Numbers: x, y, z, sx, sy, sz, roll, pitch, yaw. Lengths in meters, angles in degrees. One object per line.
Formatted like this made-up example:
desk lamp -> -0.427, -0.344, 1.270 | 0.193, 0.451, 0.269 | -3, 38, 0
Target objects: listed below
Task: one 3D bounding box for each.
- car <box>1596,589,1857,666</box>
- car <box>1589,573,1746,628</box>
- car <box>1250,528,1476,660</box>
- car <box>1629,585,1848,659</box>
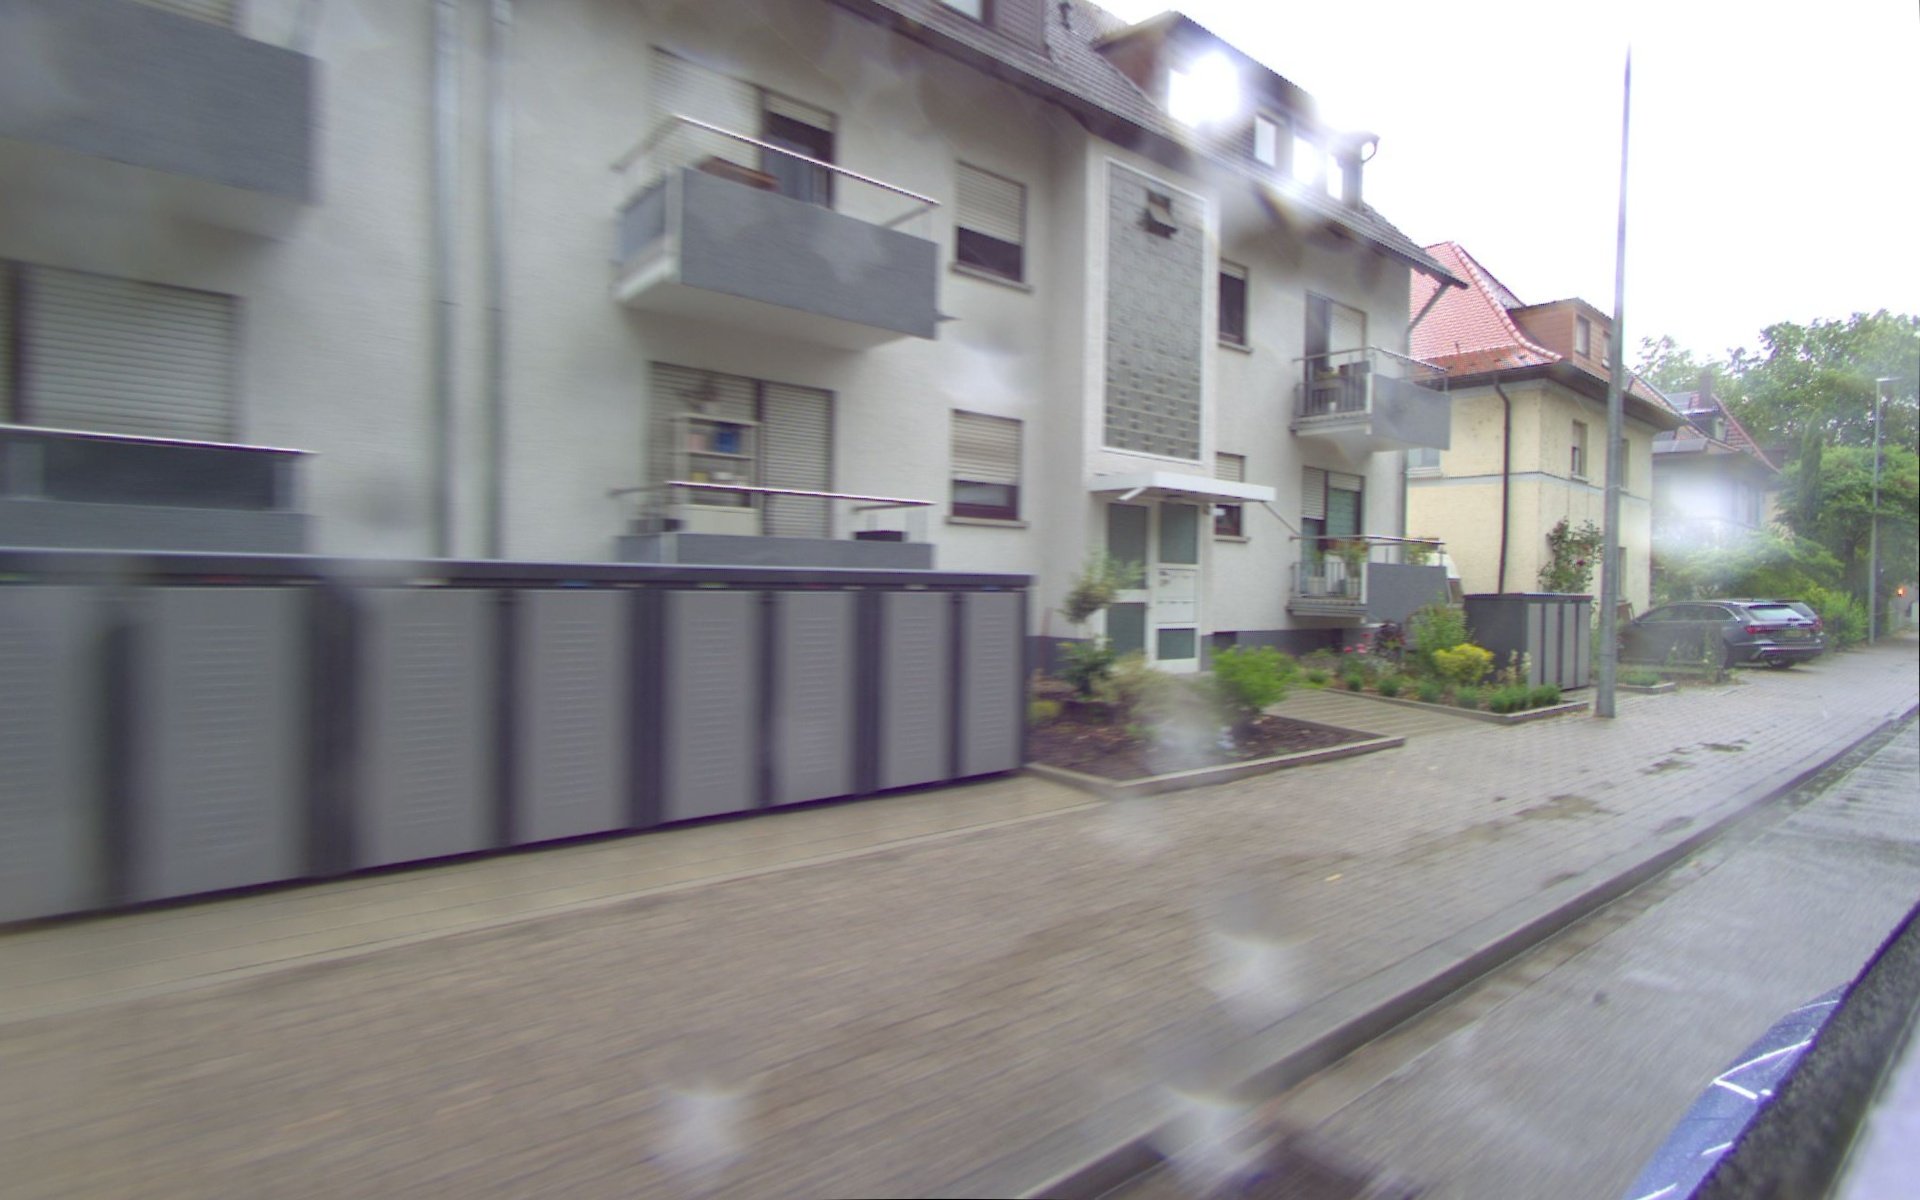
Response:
car -> 16.273, 0.513, 21.832 | 1.880, 1.381, 4.390 | 1, 2, -8
car -> 24.026, 0.065, 34.471 | 1.788, 1.600, 3.993 | 1, -4, -39
car -> 9.436, -0.161, 23.988 | 1.971, 2.795, 4.467 | 5, -1, -42
car -> 18.453, 0.457, 24.245 | 1.736, 1.475, 4.007 | 2, 2, -8
